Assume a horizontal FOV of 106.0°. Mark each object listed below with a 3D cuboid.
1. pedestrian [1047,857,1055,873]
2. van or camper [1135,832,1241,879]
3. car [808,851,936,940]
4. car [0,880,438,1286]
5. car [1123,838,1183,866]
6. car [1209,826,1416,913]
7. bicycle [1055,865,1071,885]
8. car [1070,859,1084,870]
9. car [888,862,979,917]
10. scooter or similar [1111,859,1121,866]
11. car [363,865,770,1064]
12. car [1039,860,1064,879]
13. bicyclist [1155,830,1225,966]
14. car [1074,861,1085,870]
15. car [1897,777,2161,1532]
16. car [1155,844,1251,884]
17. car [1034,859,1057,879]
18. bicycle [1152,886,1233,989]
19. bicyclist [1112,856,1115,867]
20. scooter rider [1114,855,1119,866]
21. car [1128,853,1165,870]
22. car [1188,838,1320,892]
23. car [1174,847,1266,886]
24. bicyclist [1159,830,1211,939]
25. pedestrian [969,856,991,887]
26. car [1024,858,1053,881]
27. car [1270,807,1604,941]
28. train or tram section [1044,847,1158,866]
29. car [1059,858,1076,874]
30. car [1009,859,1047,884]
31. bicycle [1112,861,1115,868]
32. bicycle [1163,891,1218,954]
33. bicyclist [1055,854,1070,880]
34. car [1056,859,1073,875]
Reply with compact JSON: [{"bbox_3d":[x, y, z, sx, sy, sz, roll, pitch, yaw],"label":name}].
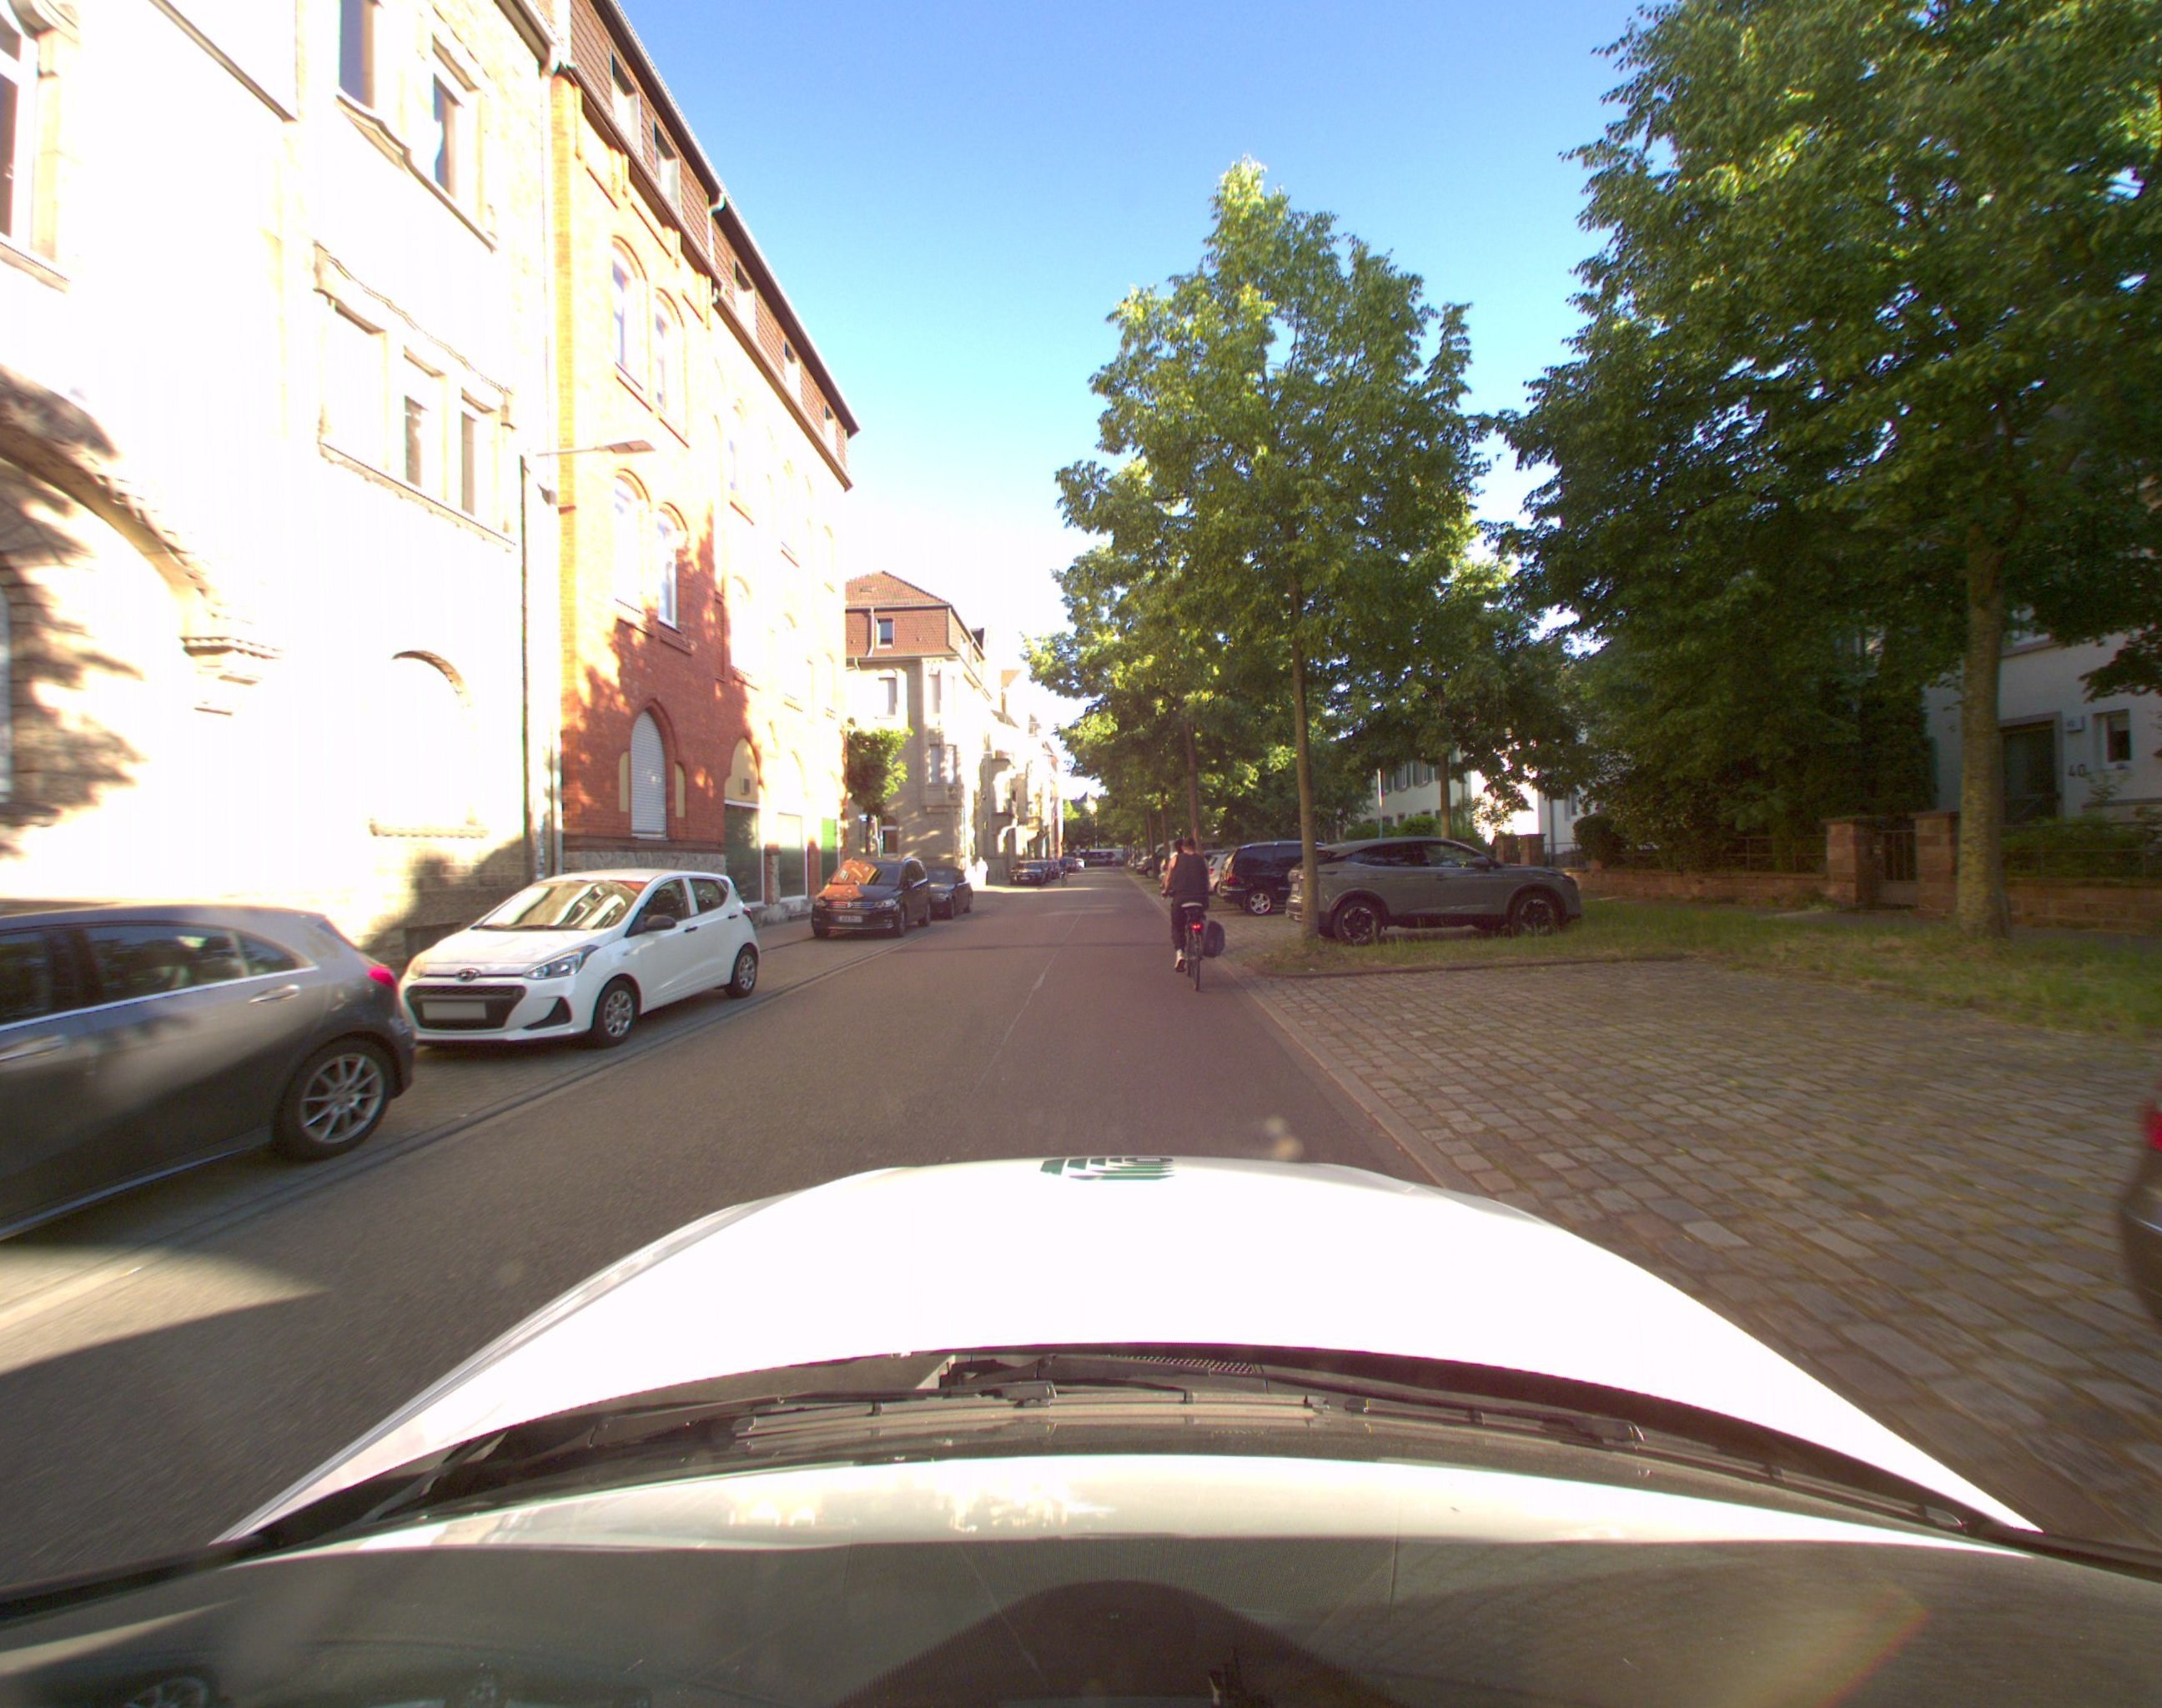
[{"bbox_3d":[-3.488,1.286,94.849,0.934,1.742,0.735,0,-1,3],"label":"pedestrian"},{"bbox_3d":[7.525,0.099,57.758,7.116,2.647,2.467,-5,-1,3],"label":"van or camper"},{"bbox_3d":[-4.419,0.828,17.896,1.664,1.681,4.349,-1,-1,0],"label":"car"},{"bbox_3d":[-4.866,0.891,3.004,1.671,1.443,4.112,0,0,1],"label":"car"},{"bbox_3d":[9.062,-0.227,102.686,7.126,2.978,2.463,-3,-1,-1],"label":"car"},{"bbox_3d":[5.644,0.377,20.331,4.562,1.677,1.909,-5,-1,3],"label":"car"},{"bbox_3d":[-1.040,1.189,46.292,0.755,1.107,1.908,-2,-1,2],"label":"bicycle"},{"bbox_3d":[-0.518,1.404,108.914,1.577,1.343,4.134,0,0,3],"label":"car"},{"bbox_3d":[-4.122,0.942,23.427,1.629,1.411,4.335,1,-1,2],"label":"car"},{"bbox_3d":[5.899,1.423,135.545,1.595,1.147,0.677,0,-1,-4],"label":"scooter or similar"},{"bbox_3d":[-4.661,0.881,8.069,1.559,1.470,3.595,-1,0,4],"label":"car"},{"bbox_3d":[-2.423,1.249,68.070,1.669,1.430,4.553,0,0,3],"label":"car"},{"bbox_3d":[1.285,0.510,9.725,0.727,1.548,0.884,0,-1,1],"label":"bicyclist"},{"bbox_3d":[-0.191,1.729,126.612,1.577,1.375,4.134,0,0,3],"label":"car"},{"bbox_3d":[4.555,0.417,1.166,4.822,1.539,1.894,-5,0,-1],"label":"car"},{"bbox_3d":[6.105,0.509,41.162,4.600,1.709,1.835,-4,0,3],"label":"car"},{"bbox_3d":[-2.741,1.171,63.079,1.624,1.453,3.837,-1,0,0],"label":"car"},{"bbox_3d":[1.283,0.932,9.711,0.735,1.054,1.956,0,-1,1],"label":"bicycle"},{"bbox_3d":[4.811,1.116,120.858,0.484,1.744,0.656,0,-1,2],"label":"bicyclist"},{"bbox_3d":[5.912,1.066,135.561,0.869,1.841,0.670,0,-1,-3],"label":"scooter rider"},{"bbox_3d":[7.624,0.831,95.358,4.070,1.650,1.640,-5,-1,-1],"label":"car"},{"bbox_3d":[6.549,0.420,31.113,4.530,1.633,1.809,-5,0,-4],"label":"car"},{"bbox_3d":[6.532,0.564,38.608,4.051,1.476,1.695,-5,0,2],"label":"car"},{"bbox_3d":[1.597,0.459,12.618,0.687,1.627,0.998,0,-1,1],"label":"bicyclist"},{"bbox_3d":[-5.377,0.933,43.402,0.884,1.577,1.054,-3,0,2],"label":"pedestrian"},{"bbox_3d":[-2.868,1.051,55.817,1.690,1.453,4.027,-2,-1,0],"label":"car"},{"bbox_3d":[5.526,0.304,13.089,4.461,1.633,1.875,-5,0,0],"label":"car"},{"bbox_3d":[4.275,0.490,168.707,23.889,3.709,4.256,0,-1,-21],"label":"train or tram section"},{"bbox_3d":[-1.588,1.458,97.810,1.682,1.825,4.275,0,0,3],"label":"car"},{"bbox_3d":[-3.147,1.022,49.277,1.804,1.427,4.899,1,-1,2],"label":"car"},{"bbox_3d":[4.801,1.576,120.814,0.496,1.005,1.474,-1,-2,2],"label":"bicycle"},{"bbox_3d":[1.665,1.030,12.636,0.631,0.799,1.833,-2,0,2],"label":"bicycle"},{"bbox_3d":[-1.061,0.728,46.172,0.757,1.454,0.949,-2,-1,1],"label":"bicyclist"},{"bbox_3d":[-1.786,1.431,91.336,1.634,1.783,4.357,0,0,3],"label":"car"}]
